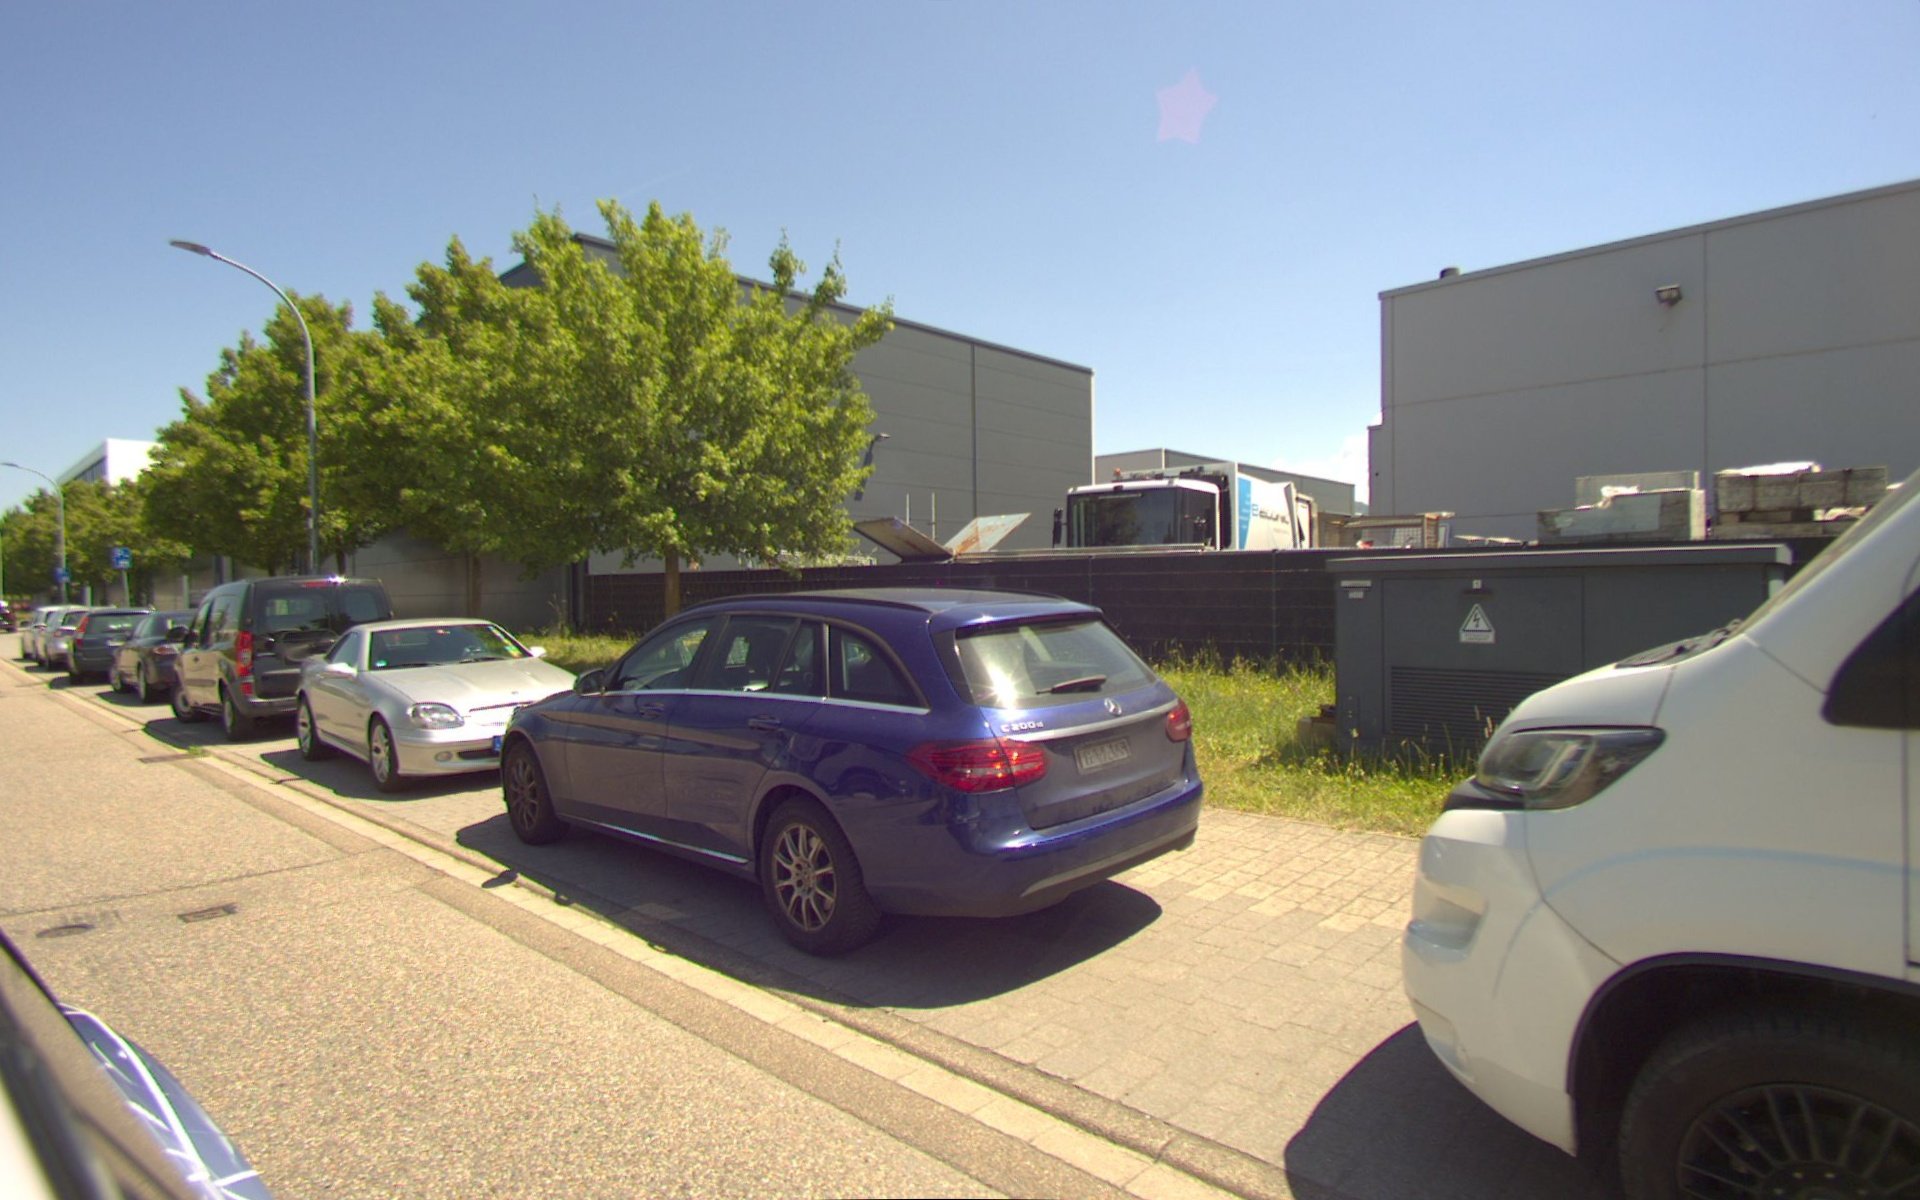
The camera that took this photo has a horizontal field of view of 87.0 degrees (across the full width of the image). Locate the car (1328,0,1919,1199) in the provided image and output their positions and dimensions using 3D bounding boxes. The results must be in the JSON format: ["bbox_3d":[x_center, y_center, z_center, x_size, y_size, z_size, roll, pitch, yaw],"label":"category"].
[{"bbox_3d":[3.832,-0.016,0.981,6.087,2.618,2.297,-1,1,44],"label":"car"}]

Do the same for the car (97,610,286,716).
[{"bbox_3d":[-13.025,0.967,17.048,4.452,1.475,1.775,-1,1,43],"label":"car"}]

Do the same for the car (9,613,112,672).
[{"bbox_3d":[-26.008,1.183,29.217,3.968,1.497,1.775,-1,1,42],"label":"car"}]

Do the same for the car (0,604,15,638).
[{"bbox_3d":[-48.569,1.071,50.475,3.830,1.660,1.775,-1,1,42],"label":"car"}]

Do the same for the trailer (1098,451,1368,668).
[{"bbox_3d":[7.299,-0.784,24.802,3.145,4.001,12.407,-1,0,31],"label":"trailer"}]

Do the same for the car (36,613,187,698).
[{"bbox_3d":[-17.618,1.067,20.950,4.451,1.497,1.775,-1,1,42],"label":"car"}]

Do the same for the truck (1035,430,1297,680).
[{"bbox_3d":[4.215,-0.727,19.577,3.145,4.001,5.990,-1,0,31],"label":"truck"}]

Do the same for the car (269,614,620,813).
[{"bbox_3d":[-4.789,0.830,9.116,4.002,1.321,1.625,-1,1,45],"label":"car"}]

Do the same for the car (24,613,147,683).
[{"bbox_3d":[-21.739,1.127,25.102,4.189,1.497,1.775,-1,1,42],"label":"car"}]

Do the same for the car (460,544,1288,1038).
[{"bbox_3d":[-0.846,0.595,5.444,4.626,1.552,1.811,-1,1,44],"label":"car"}]

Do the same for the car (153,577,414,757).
[{"bbox_3d":[-8.454,0.701,12.507,4.083,1.824,1.811,-1,1,44],"label":"car"}]
